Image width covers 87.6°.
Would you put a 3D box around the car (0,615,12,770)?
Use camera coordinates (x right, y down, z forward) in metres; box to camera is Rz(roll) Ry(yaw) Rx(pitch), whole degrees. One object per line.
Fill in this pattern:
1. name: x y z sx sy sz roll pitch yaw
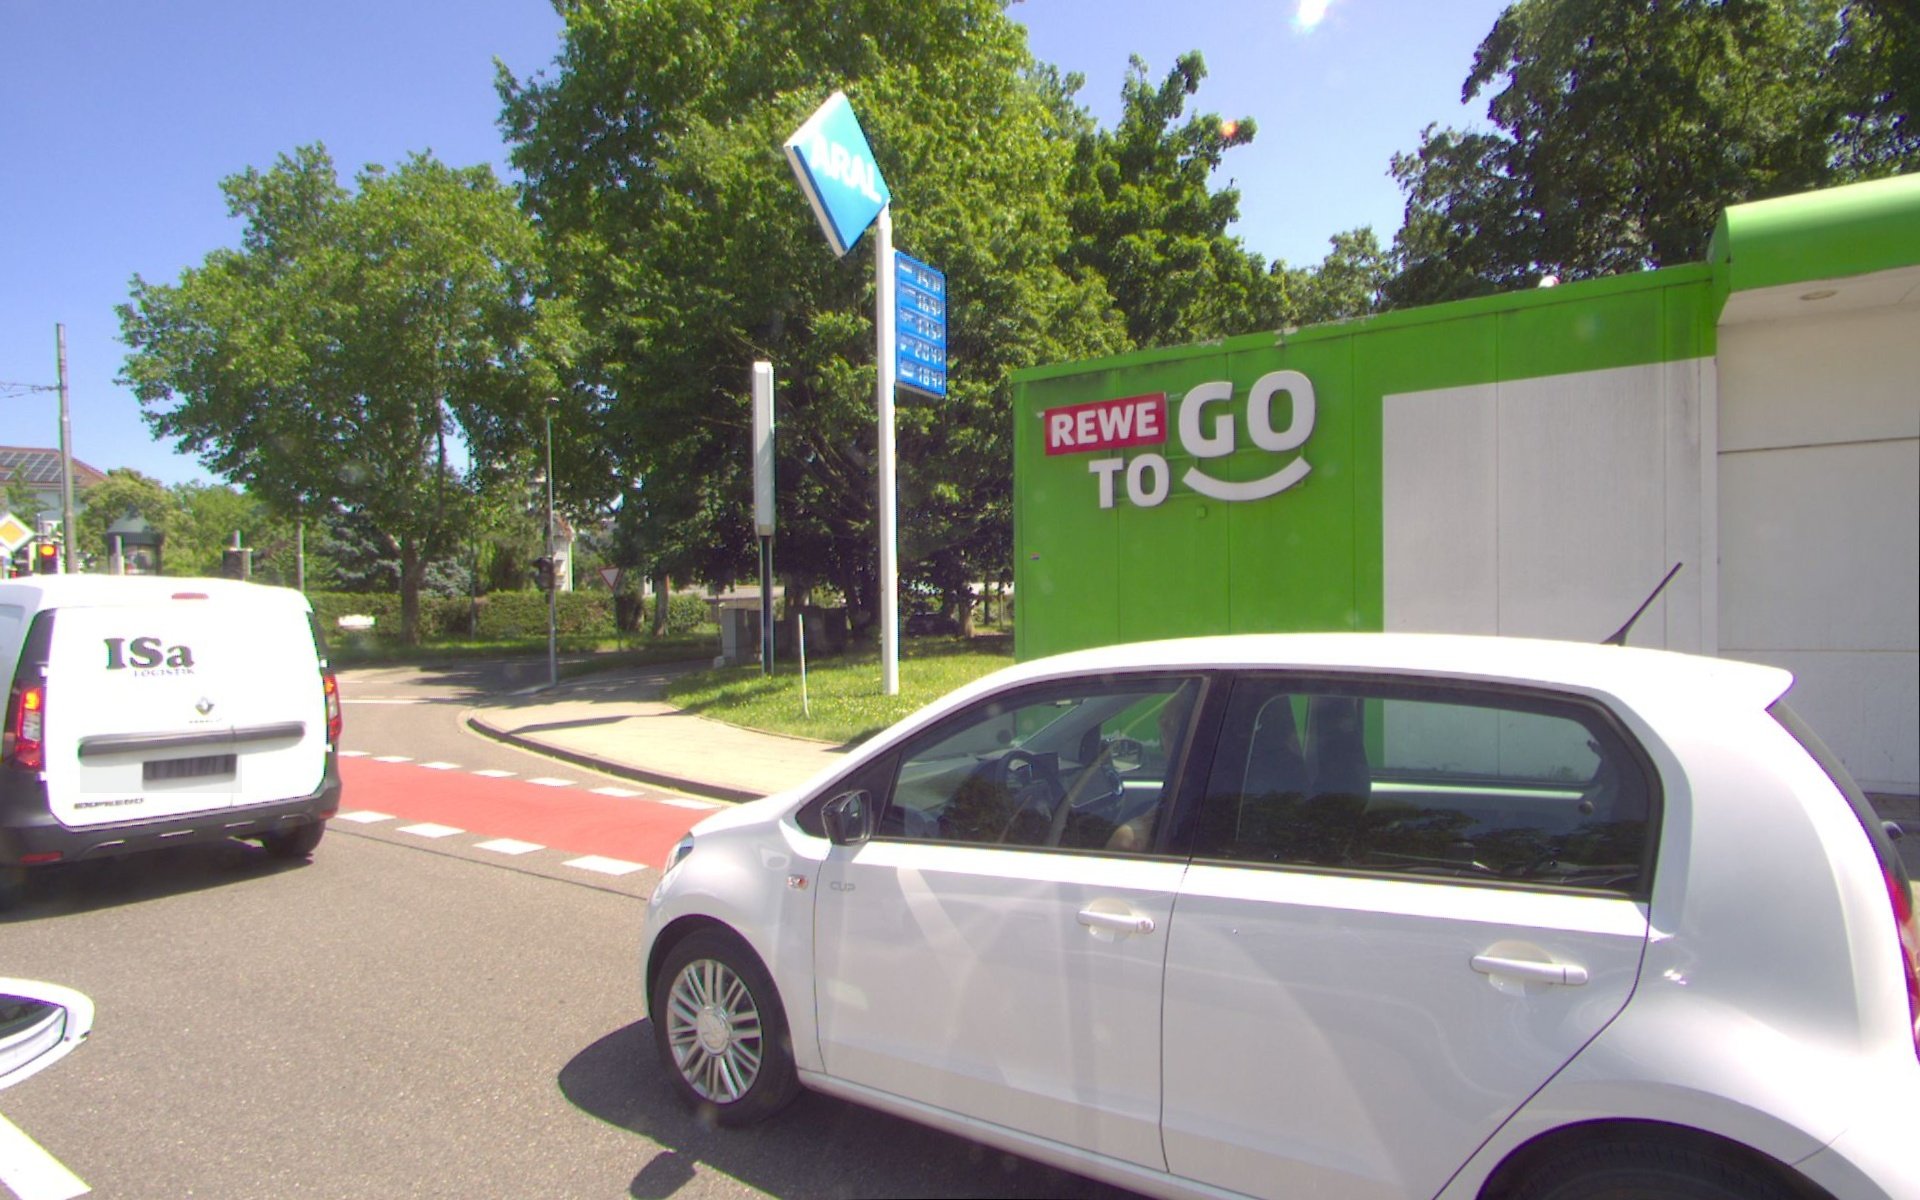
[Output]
1. car: -11.962 0.937 10.641 3.943 1.589 1.832 0 -1 32

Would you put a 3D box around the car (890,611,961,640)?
1. car: -1.909 1.442 56.569 1.681 1.617 3.965 0 -1 44

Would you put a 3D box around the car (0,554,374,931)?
1. car: -5.840 0.742 6.607 4.005 1.811 1.725 -1 -2 31

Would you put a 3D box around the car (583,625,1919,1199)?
1. car: 0.636 0.829 2.992 3.387 1.466 1.606 0 -1 33

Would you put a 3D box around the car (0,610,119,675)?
1. car: -24.238 1.072 25.678 3.963 1.617 1.682 2 -1 -45
